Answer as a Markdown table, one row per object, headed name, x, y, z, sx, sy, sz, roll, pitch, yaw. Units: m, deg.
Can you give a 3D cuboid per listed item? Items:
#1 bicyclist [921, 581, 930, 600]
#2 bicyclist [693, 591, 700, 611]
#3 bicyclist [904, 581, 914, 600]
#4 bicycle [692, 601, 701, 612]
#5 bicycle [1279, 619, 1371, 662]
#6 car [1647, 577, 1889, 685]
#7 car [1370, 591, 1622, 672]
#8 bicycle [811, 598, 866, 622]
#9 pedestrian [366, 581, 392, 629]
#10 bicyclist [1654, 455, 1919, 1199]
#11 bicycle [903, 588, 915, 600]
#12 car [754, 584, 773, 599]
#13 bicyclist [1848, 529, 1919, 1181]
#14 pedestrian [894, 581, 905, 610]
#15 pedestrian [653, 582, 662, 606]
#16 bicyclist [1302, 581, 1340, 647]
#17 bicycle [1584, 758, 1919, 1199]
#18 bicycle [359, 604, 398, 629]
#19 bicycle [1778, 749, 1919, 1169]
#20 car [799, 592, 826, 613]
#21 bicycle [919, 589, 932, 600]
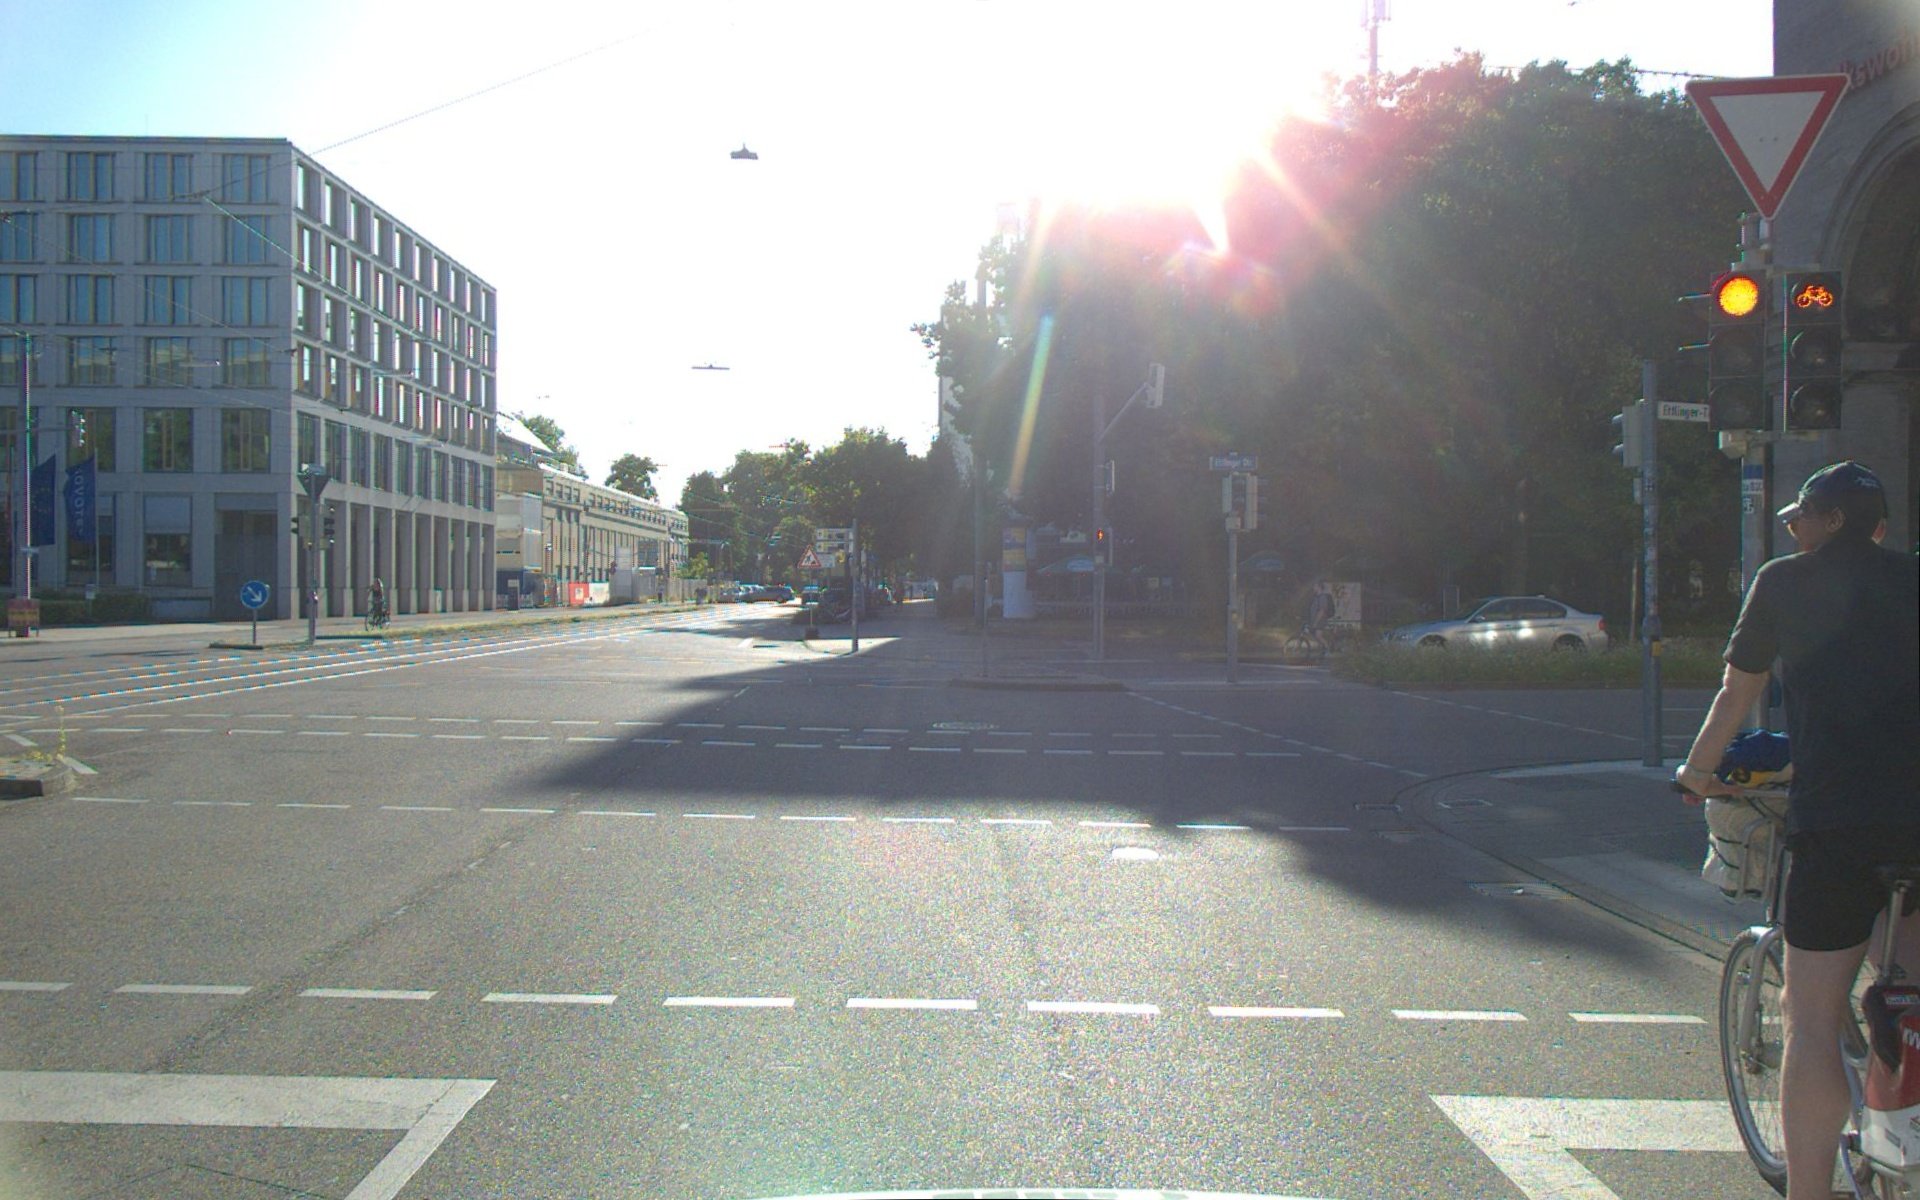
| name | x | y | z | sx | sy | sz | roll | pitch | yaw |
| --- | --- | --- | --- | --- | --- | --- | --- | --- | --- |
| bicyclist | -3.780 | -1.011 | 181.109 | 0.875 | 2.049 | 0.746 | 1 | -1 | -12 |
| bicyclist | -20.714 | 0.059 | 130.022 | 0.484 | 1.525 | 0.666 | 0 | 0 | 2 |
| bicyclist | -5.551 | -1.045 | 180.456 | 0.875 | 2.049 | 0.746 | 1 | -1 | -12 |
| bicycle | -20.706 | 0.521 | 130.060 | 0.484 | 0.854 | 1.156 | 0 | 0 | 2 |
| bicycle | 8.035 | 0.880 | 36.488 | 1.902 | 0.905 | 0.718 | 1 | 0 | 5 |
| car | 16.229 | 0.610 | 33.382 | 3.905 | 2.049 | 2.000 | 1 | 0 | 0 |
| car | 10.850 | 0.629 | 33.727 | 4.483 | 1.543 | 2.000 | 1 | 0 | -1 |
| bicycle | -4.925 | 0.396 | 67.135 | 2.201 | 0.956 | 0.653 | 0 | 0 | -6 |
| pedestrian | -19.801 | 0.163 | 56.415 | 0.559 | 1.623 | 0.745 | 0 | 0 | 6 |
| bicyclist | 2.143 | 0.567 | 3.903 | 0.610 | 1.745 | 0.912 | 0 | 0 | -1 |
| bicycle | -5.544 | -0.640 | 180.380 | 0.875 | 1.240 | 2.785 | 1 | 0 | -12 |
| car | -23.068 | -1.006 | 194.356 | 1.954 | 1.673 | 3.997 | 0 | 0 | -4 |
| bicyclist | 2.885 | 0.691 | 4.356 | 0.572 | 1.769 | 0.950 | 0 | 0 | 0 |
| pedestrian | -3.589 | -0.260 | 97.624 | 0.566 | 1.719 | 0.584 | 0 | 0 | -8 |
| pedestrian | -25.266 | -0.505 | 138.108 | 0.575 | 1.922 | 0.478 | 1 | -1 | 4 |
| bicyclist | 7.956 | 0.304 | 36.495 | 0.731 | 1.431 | 0.702 | 1 | -1 | 6 |
| bicycle | 2.139 | 0.995 | 3.915 | 0.610 | 1.062 | 1.746 | 0 | 0 | -2 |
| bicycle | -19.805 | 0.560 | 56.377 | 0.559 | 0.837 | 1.720 | 0 | 0 | 6 |
| bicycle | 2.886 | 1.011 | 4.391 | 0.570 | 1.062 | 1.747 | 0 | 0 | 0 |
| car | -12.443 | 0.219 | 139.436 | 1.953 | 1.668 | 3.999 | 1 | 0 | -1 |
| bicycle | -3.776 | -0.607 | 181.086 | 0.875 | 1.240 | 2.785 | 1 | 0 | -12 |
